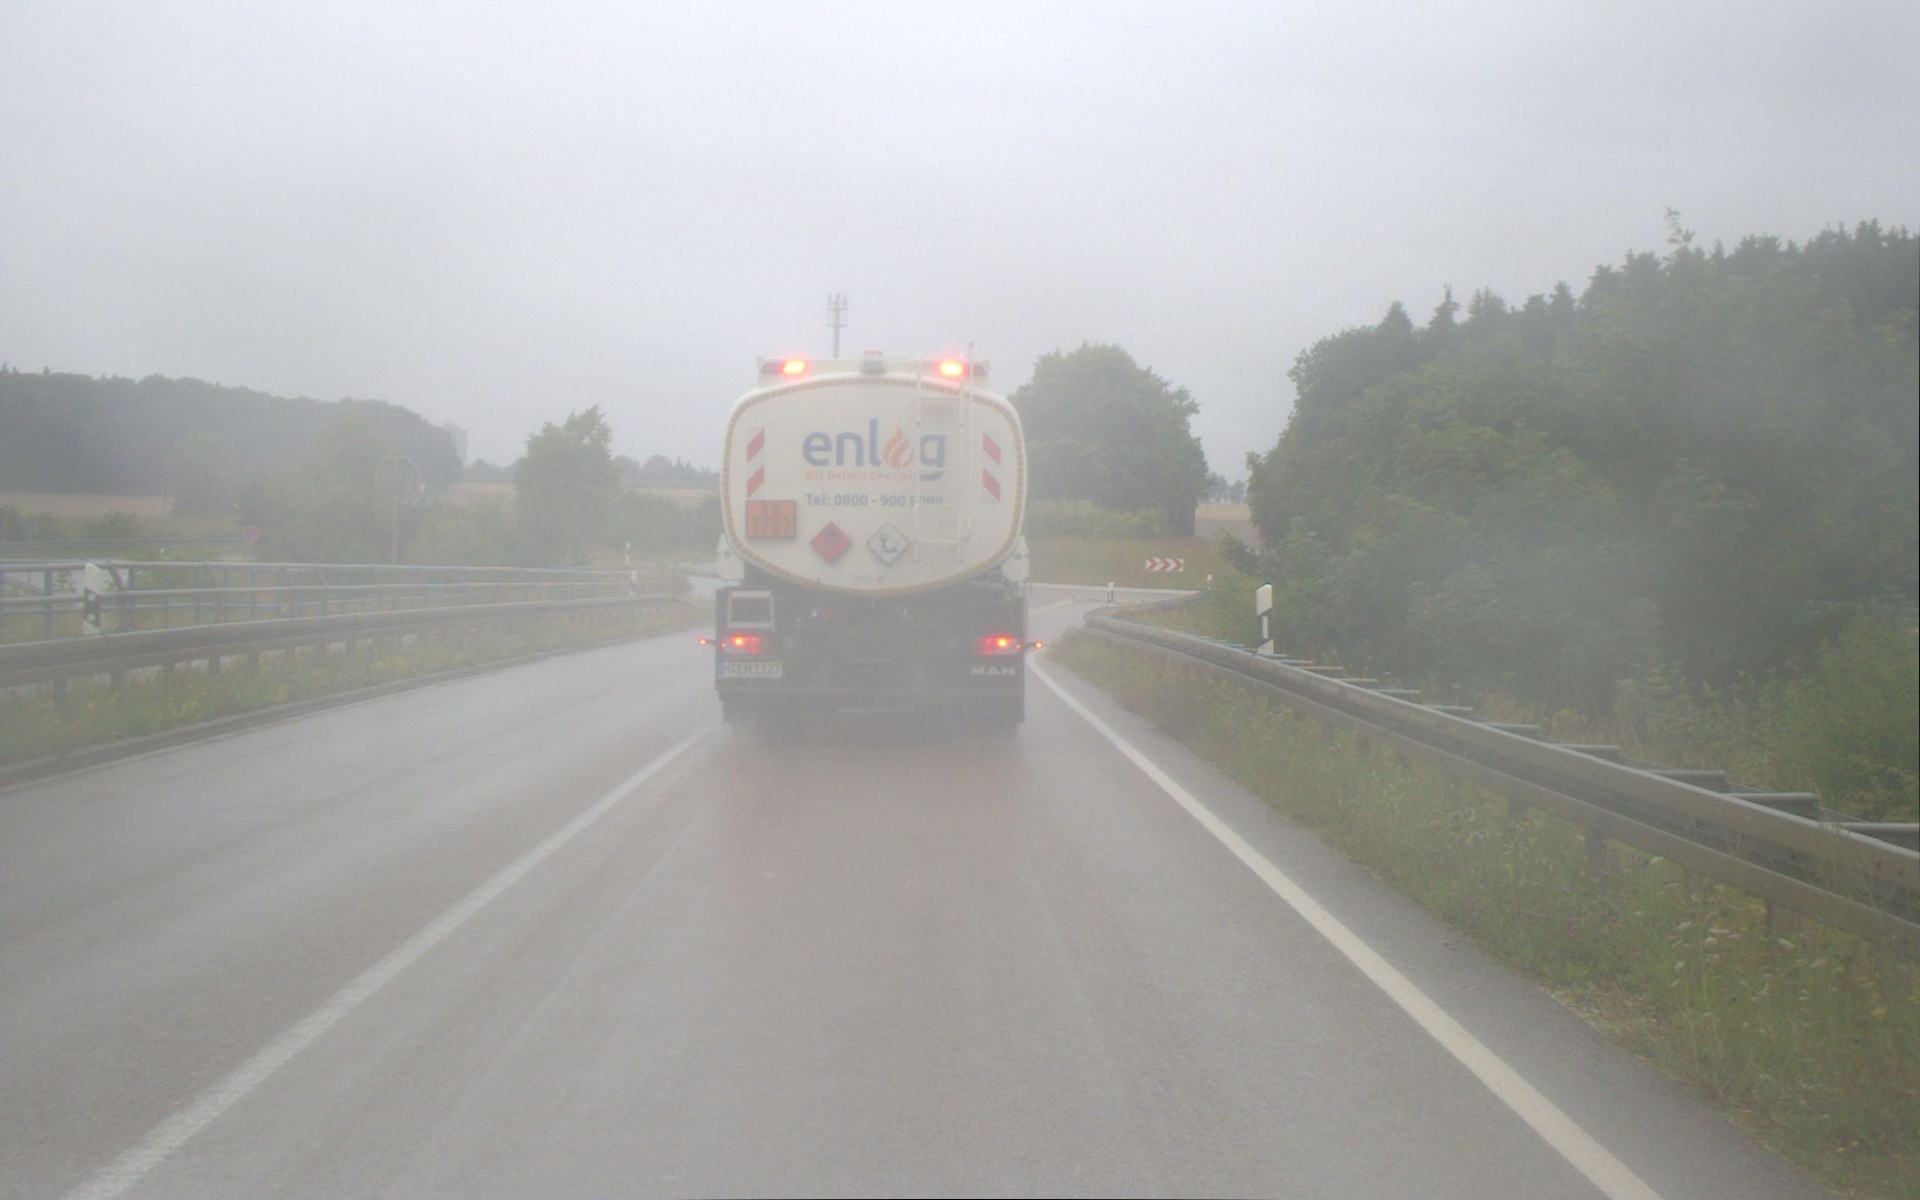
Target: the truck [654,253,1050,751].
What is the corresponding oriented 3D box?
[{"bbox_3d":[-0.811,-0.835,31.015,3.039,3.838,8.822,0,1,0],"label":"truck"}]
